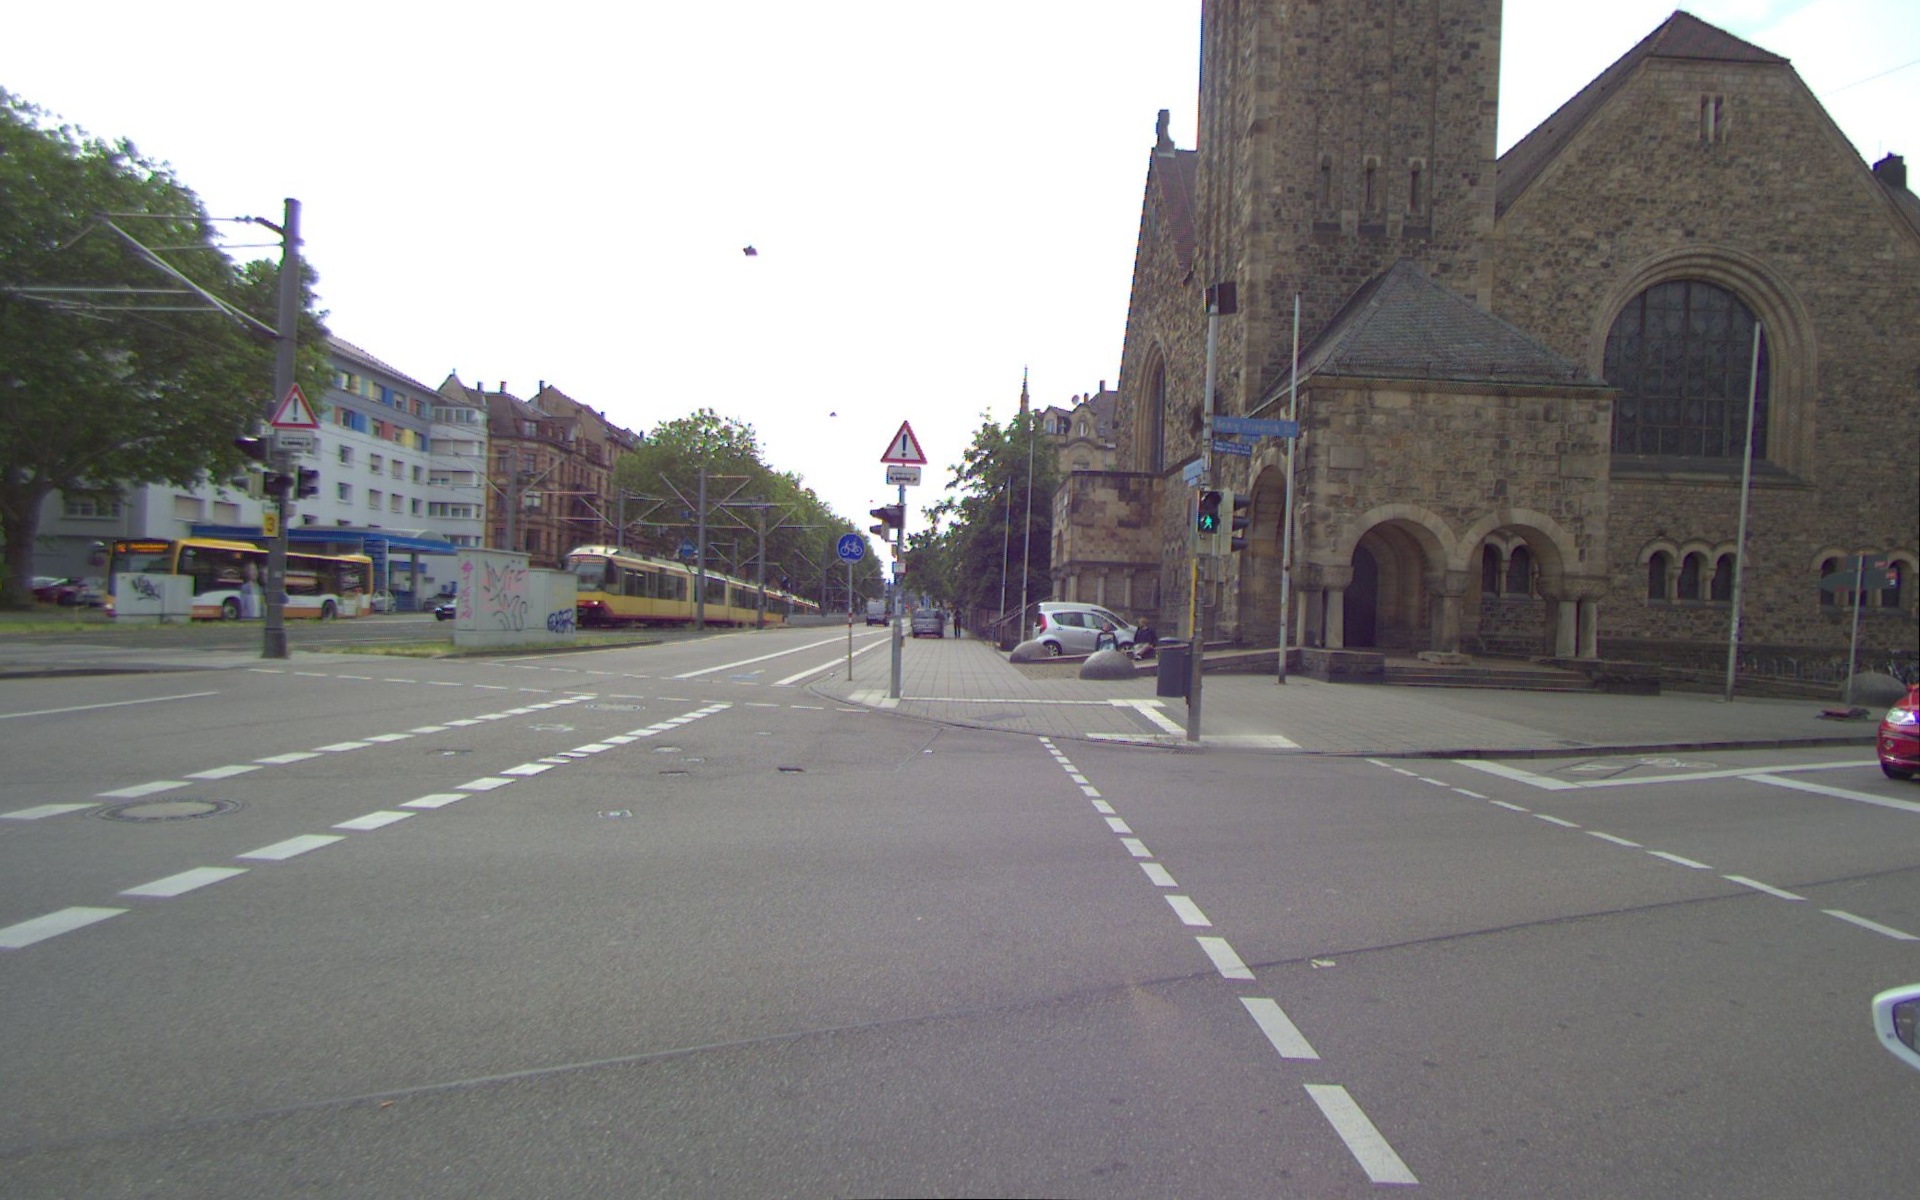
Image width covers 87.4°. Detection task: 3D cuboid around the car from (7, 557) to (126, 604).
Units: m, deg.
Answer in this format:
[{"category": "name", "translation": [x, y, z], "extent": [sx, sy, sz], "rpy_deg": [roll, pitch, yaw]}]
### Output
[{"category": "car", "translation": [-41.936, -0.867, 47.290], "extent": [1.961, 2.040, 4.000], "rpy_deg": [2, 0, -1]}]

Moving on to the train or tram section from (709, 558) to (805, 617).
[{"category": "train or tram section", "translation": [-16.688, -0.817, 84.936], "extent": [3.556, 4.147, 19.950], "rpy_deg": [4, -1, 1]}]

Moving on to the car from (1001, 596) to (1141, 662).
[{"category": "car", "translation": [3.770, 0.986, 34.732], "extent": [4.535, 1.906, 1.662], "rpy_deg": [4, 0, -1]}]

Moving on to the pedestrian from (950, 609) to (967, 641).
[{"category": "pedestrian", "translation": [-0.094, 1.377, 55.589], "extent": [0.763, 1.669, 0.799], "rpy_deg": [4, 0, 5]}]

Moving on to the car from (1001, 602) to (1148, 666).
[{"category": "car", "translation": [3.504, 1.054, 31.290], "extent": [4.278, 1.658, 1.662], "rpy_deg": [4, 0, -1]}]

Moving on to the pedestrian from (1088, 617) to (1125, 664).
[{"category": "pedestrian", "translation": [4.052, 1.106, 27.894], "extent": [0.724, 1.207, 1.493], "rpy_deg": [4, 0, 0]}]

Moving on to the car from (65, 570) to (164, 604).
[{"category": "car", "translation": [-39.516, -0.579, 47.026], "extent": [1.674, 1.376, 3.404], "rpy_deg": [4, -1, 0]}]

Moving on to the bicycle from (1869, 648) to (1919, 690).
[{"category": "bicycle", "translation": [27.772, 2.031, 29.290], "extent": [0.650, 1.145, 1.779], "rpy_deg": [3, 0, -13]}]

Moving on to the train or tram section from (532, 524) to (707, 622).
[{"category": "train or tram section", "translation": [-17.097, -1.107, 52.329], "extent": [3.583, 4.147, 15.040], "rpy_deg": [4, -1, 1]}]

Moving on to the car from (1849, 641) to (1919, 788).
[{"category": "car", "translation": [12.027, 1.275, 11.337], "extent": [3.842, 1.548, 1.644], "rpy_deg": [2, -2, -26]}]

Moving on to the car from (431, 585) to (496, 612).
[{"category": "car", "translation": [-28.194, -0.069, 57.140], "extent": [1.674, 1.376, 3.890], "rpy_deg": [4, -1, 0]}]

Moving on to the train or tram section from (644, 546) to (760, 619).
[{"category": "train or tram section", "translation": [-16.880, -0.975, 67.460], "extent": [3.511, 4.147, 15.040], "rpy_deg": [4, -1, 1]}]

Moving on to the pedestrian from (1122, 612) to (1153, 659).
[{"category": "pedestrian", "translation": [4.932, 0.978, 27.863], "extent": [0.724, 1.244, 1.063], "rpy_deg": [4, 0, 14]}]

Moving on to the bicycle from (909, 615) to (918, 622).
[{"category": "bicycle", "translation": [-4.882, 1.972, 104.980], "extent": [0.602, 0.663, 2.375], "rpy_deg": [4, -1, -11]}]

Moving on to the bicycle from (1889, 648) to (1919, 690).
[{"category": "bicycle", "translation": [28.547, 2.060, 29.463], "extent": [0.729, 1.182, 1.779], "rpy_deg": [3, 0, -13]}]

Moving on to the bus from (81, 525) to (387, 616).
[{"category": "bus", "translation": [-28.362, -0.959, 40.542], "extent": [3.228, 2.894, 12.380], "rpy_deg": [4, -1, 0]}]

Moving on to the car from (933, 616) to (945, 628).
[{"category": "car", "translation": [-3.663, 3.887, 176.957], "extent": [1.961, 1.951, 3.999], "rpy_deg": [4, -1, -2]}]

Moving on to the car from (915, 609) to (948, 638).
[{"category": "car", "translation": [-1.553, 1.302, 56.709], "extent": [1.674, 1.478, 3.890], "rpy_deg": [4, -1, 0]}]

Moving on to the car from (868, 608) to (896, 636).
[{"category": "car", "translation": [-7.918, 2.195, 102.663], "extent": [2.471, 2.641, 5.826], "rpy_deg": [4, -1, -3]}]

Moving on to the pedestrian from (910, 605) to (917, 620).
[{"category": "pedestrian", "translation": [-4.869, 1.328, 105.242], "extent": [0.642, 1.493, 0.650], "rpy_deg": [2, 0, -11]}]
